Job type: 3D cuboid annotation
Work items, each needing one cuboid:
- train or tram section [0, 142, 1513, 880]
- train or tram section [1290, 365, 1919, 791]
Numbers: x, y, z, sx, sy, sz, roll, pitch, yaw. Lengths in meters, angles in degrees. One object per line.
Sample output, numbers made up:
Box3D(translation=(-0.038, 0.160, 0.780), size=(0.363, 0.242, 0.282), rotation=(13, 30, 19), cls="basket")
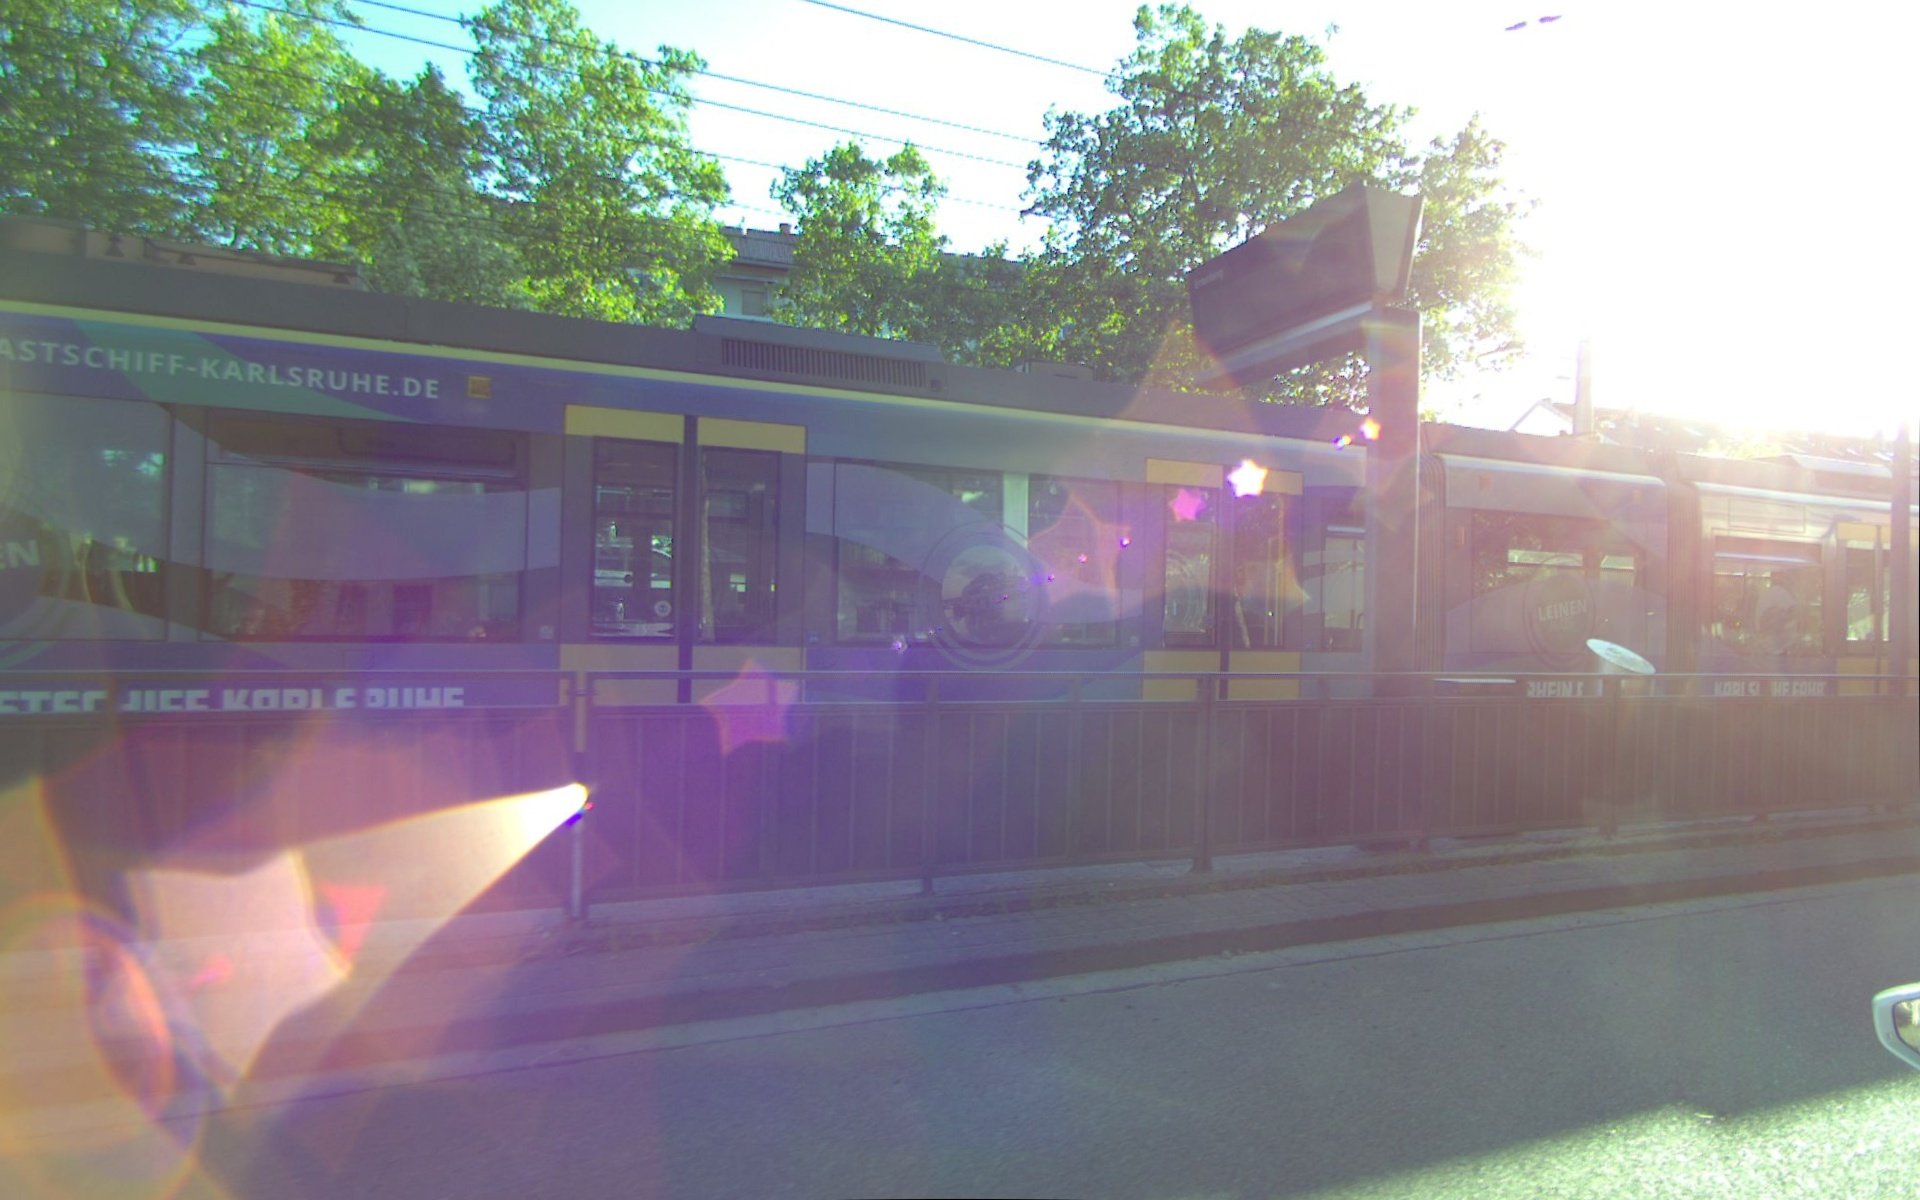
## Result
Box3D(translation=(-1.981, -0.337, 7.444), size=(13.197, 3.580, 2.845), rotation=(2, -1, -21), cls="train or tram section")
Box3D(translation=(10.001, -0.019, 12.057), size=(12.595, 3.596, 2.724), rotation=(2, -1, -21), cls="train or tram section")
